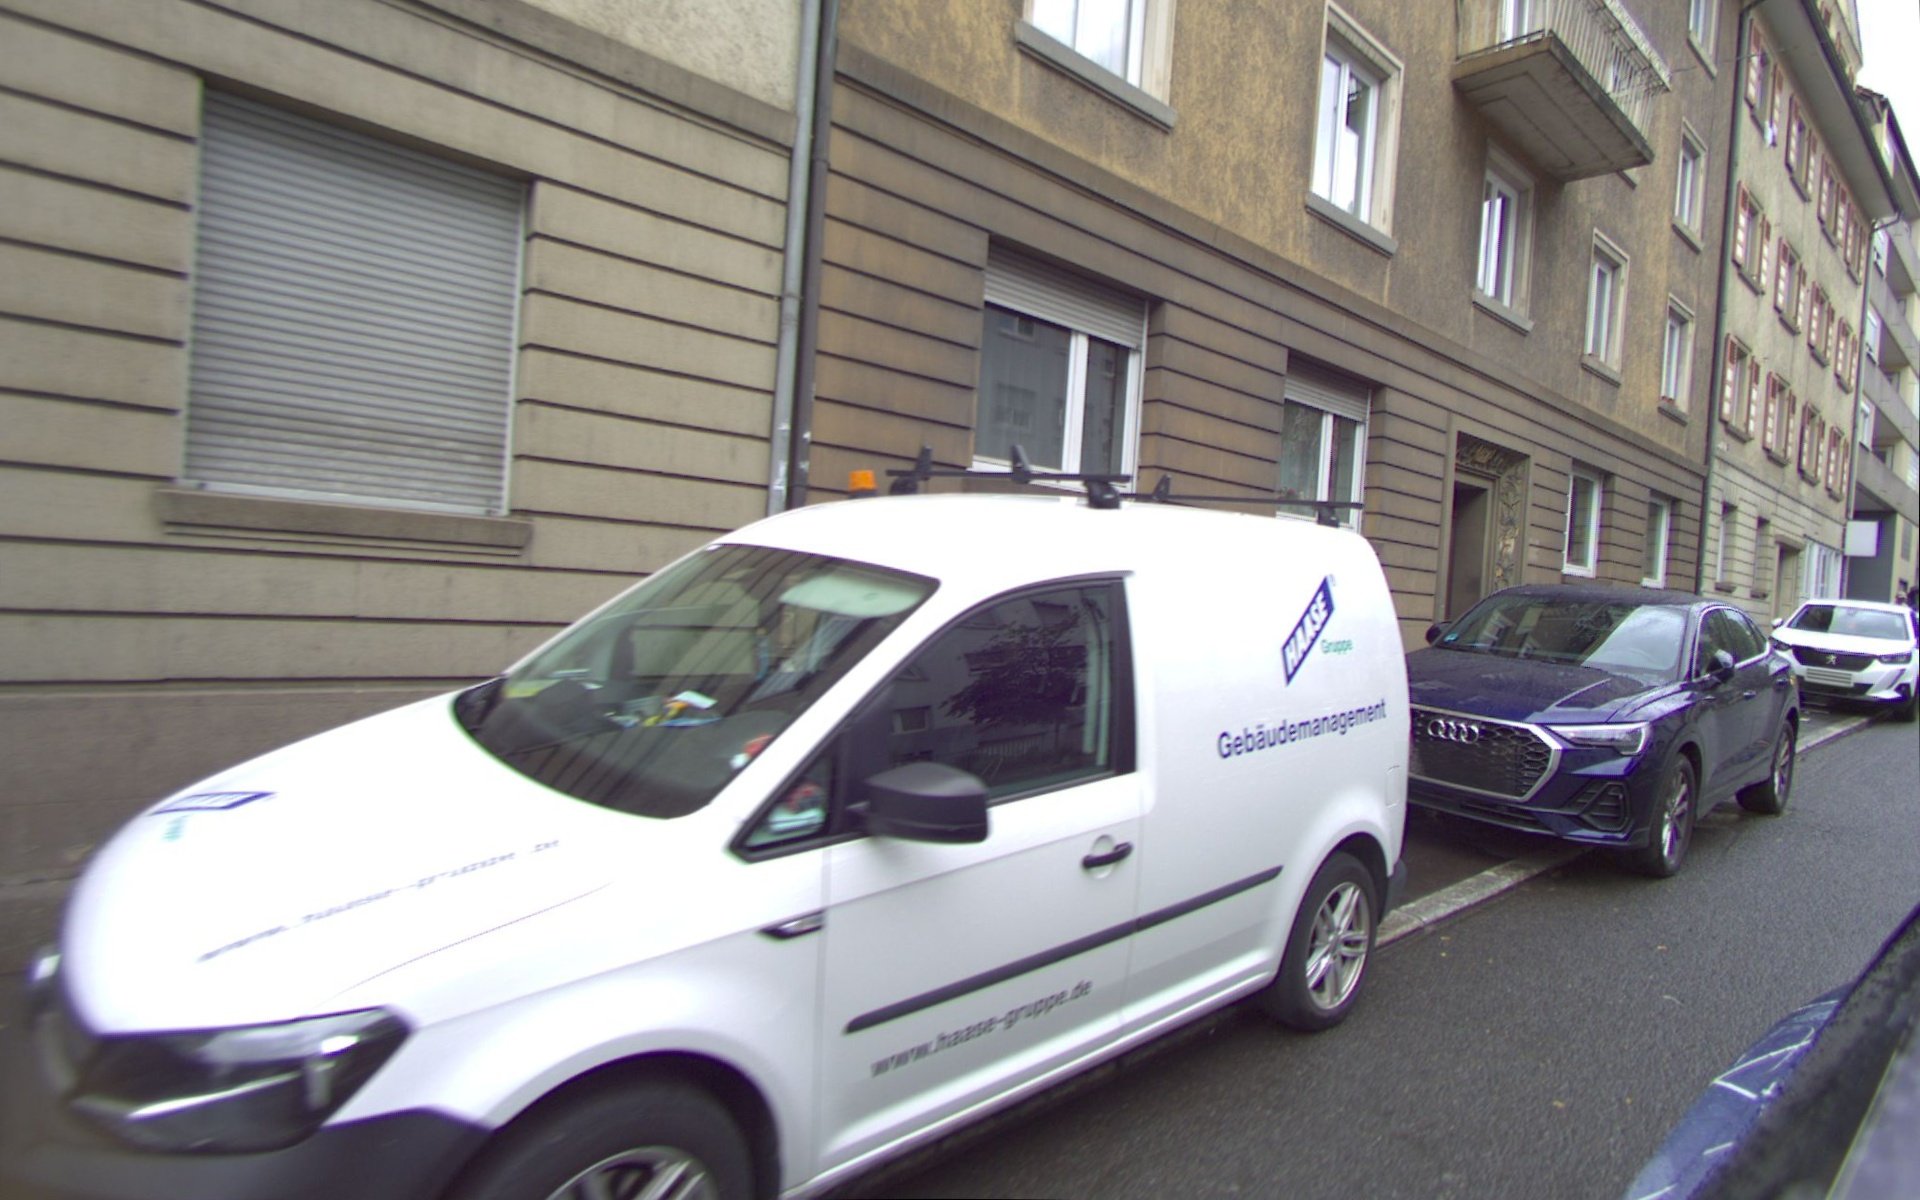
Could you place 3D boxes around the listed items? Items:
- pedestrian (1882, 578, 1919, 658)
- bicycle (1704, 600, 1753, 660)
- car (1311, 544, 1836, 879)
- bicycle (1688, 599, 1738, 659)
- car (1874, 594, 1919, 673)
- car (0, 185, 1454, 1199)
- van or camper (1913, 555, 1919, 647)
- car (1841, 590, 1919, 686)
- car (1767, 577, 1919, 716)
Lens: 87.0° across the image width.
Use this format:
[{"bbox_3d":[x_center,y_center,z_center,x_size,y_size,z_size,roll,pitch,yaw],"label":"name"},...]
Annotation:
[{"bbox_3d":[22.271,0.418,23.689,0.680,1.808,0.708,4,4,24],"label":"pedestrian"},{"bbox_3d":[14.937,0.562,19.649,2.069,1.086,0.248,-1,5,-41],"label":"bicycle"},{"bbox_3d":[4.377,0.521,6.949,4.151,1.566,1.795,0,4,-41],"label":"car"},{"bbox_3d":[14.759,0.541,19.823,2.069,1.086,0.248,-1,5,-41],"label":"bicycle"},{"bbox_3d":[20.846,0.680,21.321,4.508,1.497,1.781,-1,4,-41],"label":"car"},{"bbox_3d":[-0.283,0.374,3.174,4.009,1.839,1.795,0,4,-41],"label":"car"},{"bbox_3d":[30.845,0.087,30.225,6.298,2.732,2.192,1,3,-36],"label":"van or camper"},{"bbox_3d":[17.358,0.662,18.298,3.672,1.495,1.636,0,6,-43],"label":"car"},{"bbox_3d":[13.388,0.581,14.887,4.124,1.657,1.635,0,6,-43],"label":"car"}]
